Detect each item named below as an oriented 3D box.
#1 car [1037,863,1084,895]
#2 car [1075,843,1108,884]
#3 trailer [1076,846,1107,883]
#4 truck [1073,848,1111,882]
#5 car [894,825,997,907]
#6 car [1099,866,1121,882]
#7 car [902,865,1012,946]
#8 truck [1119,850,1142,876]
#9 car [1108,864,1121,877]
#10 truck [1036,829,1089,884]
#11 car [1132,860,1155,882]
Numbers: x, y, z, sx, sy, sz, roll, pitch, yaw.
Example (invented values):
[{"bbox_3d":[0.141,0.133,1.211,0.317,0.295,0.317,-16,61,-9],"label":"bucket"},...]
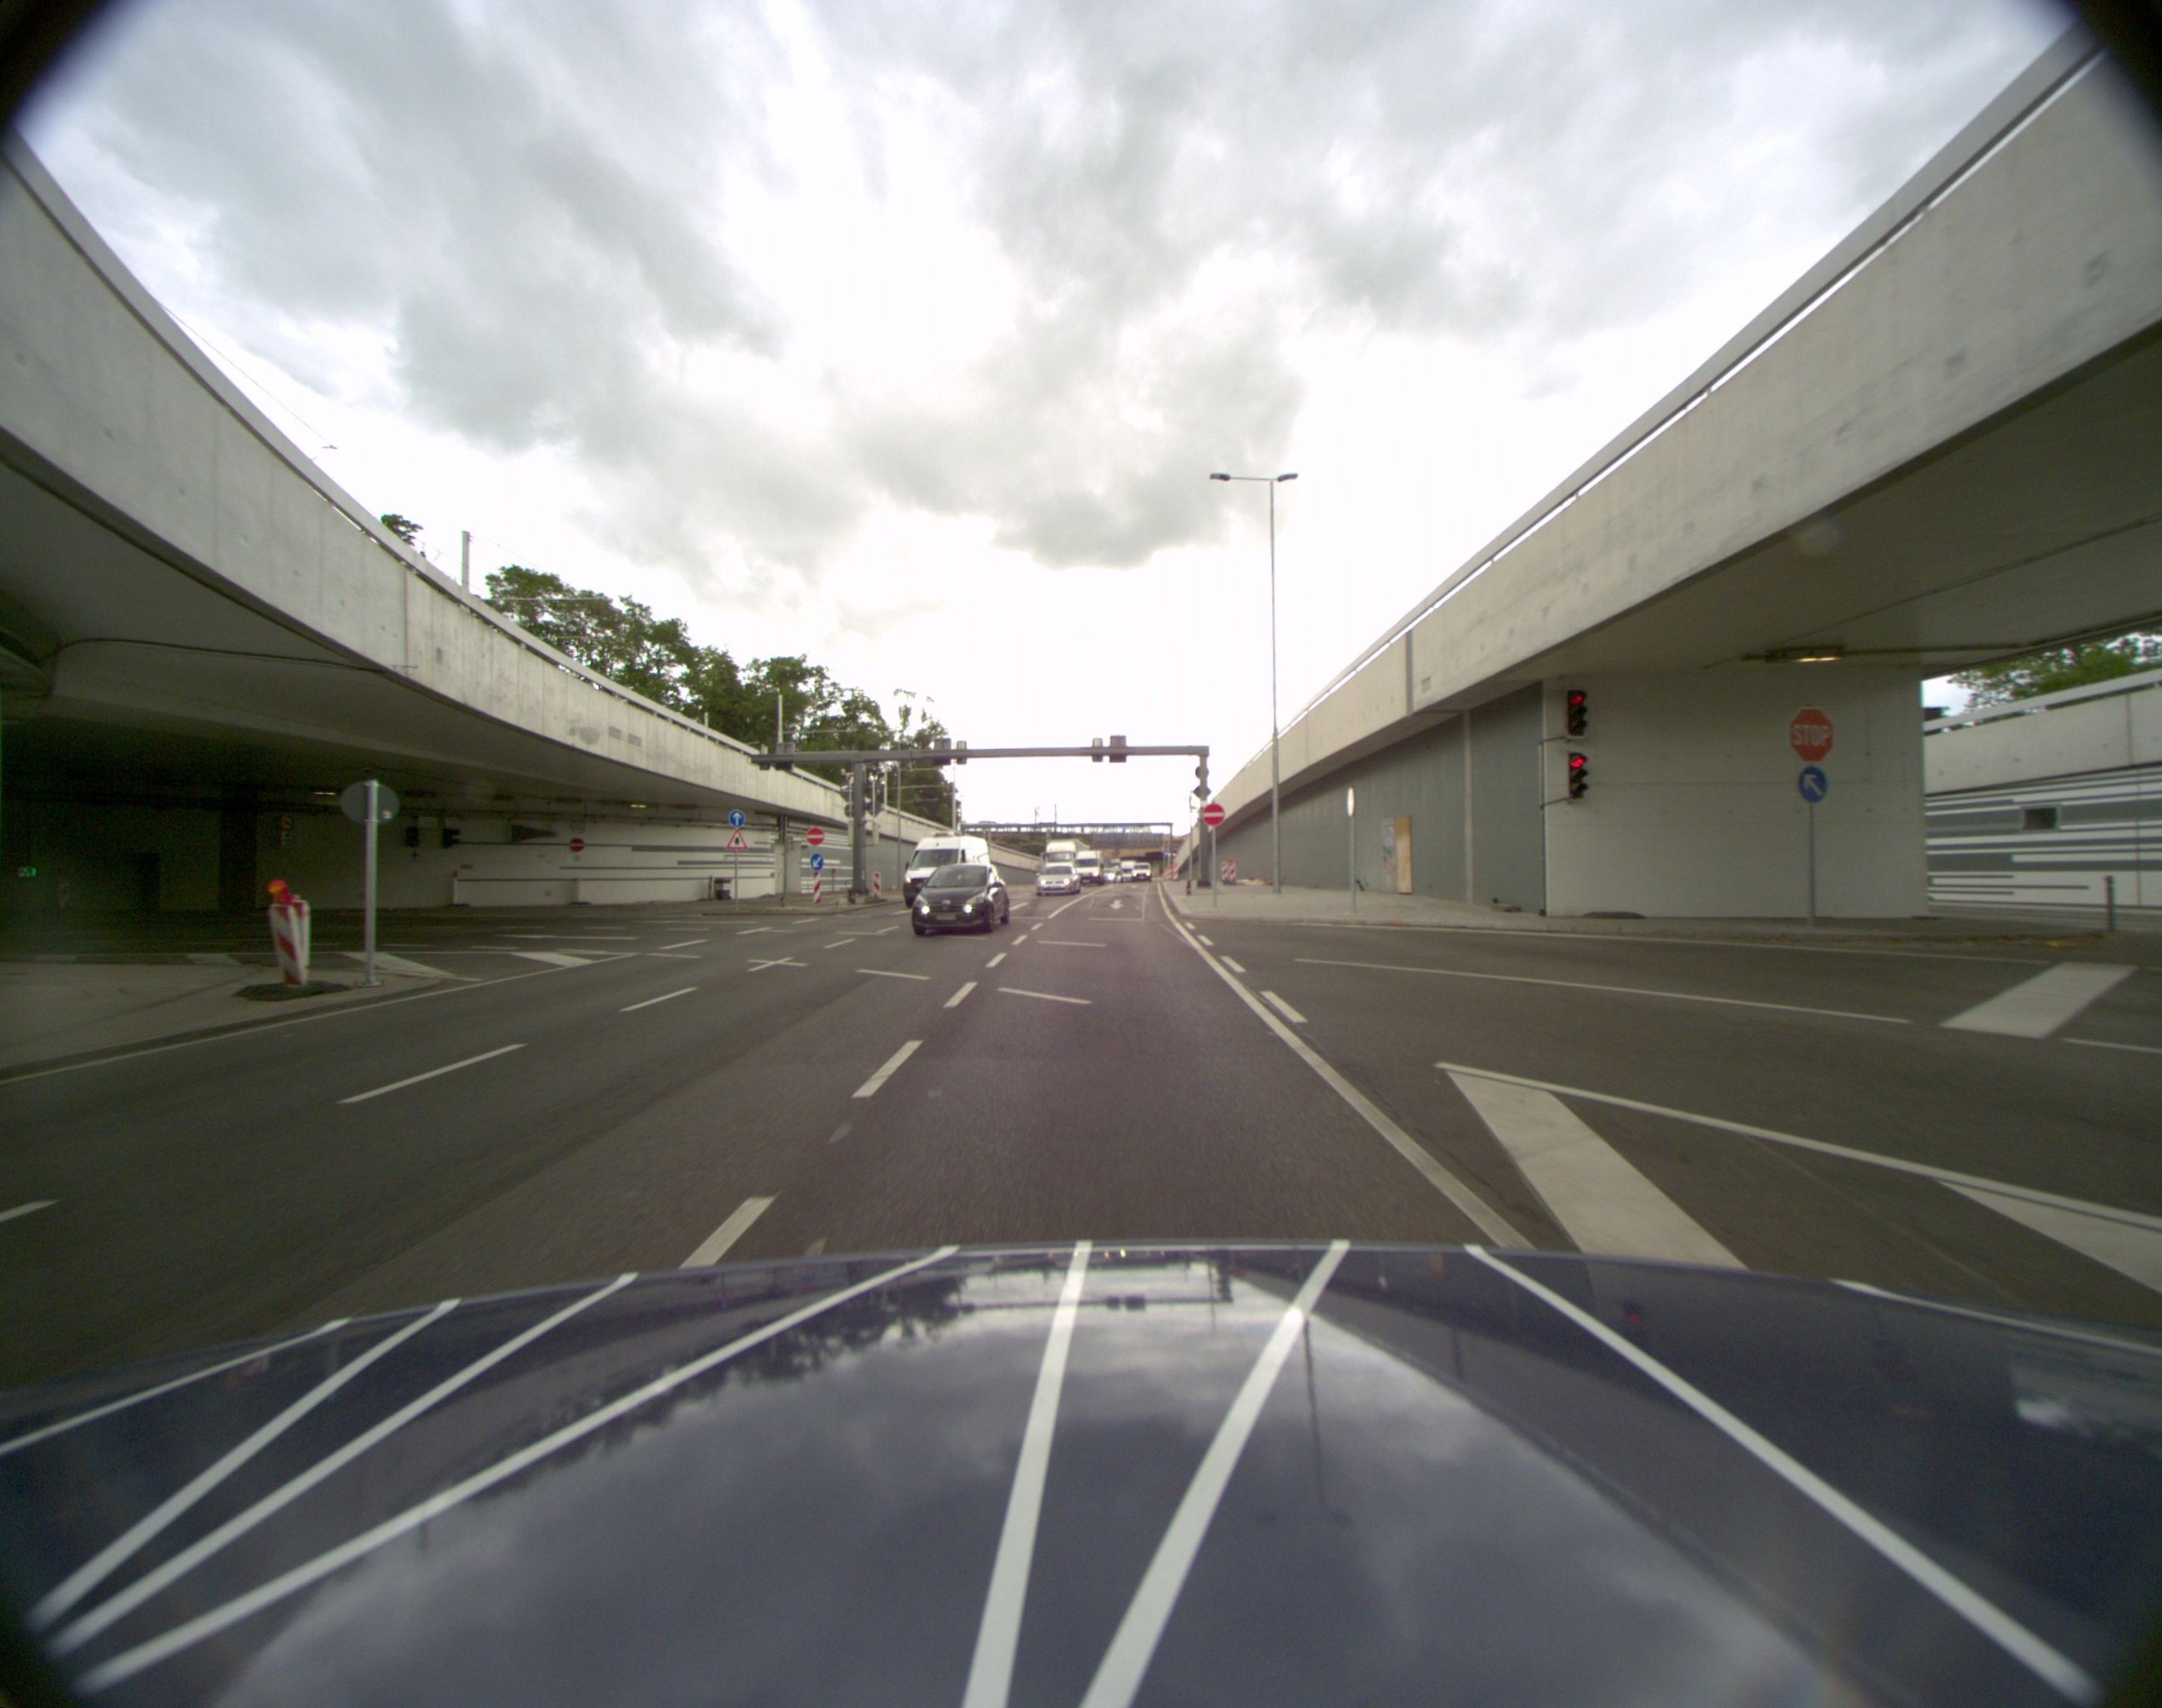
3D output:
[{"bbox_3d":[-0.901,1.154,35.638,1.767,1.375,4.041,-1,-1,5],"label":"car"},{"bbox_3d":[0.721,0.767,55.377,2.063,2.611,5.945,-5,-3,-1],"label":"car"},{"bbox_3d":[0.769,0.917,59.666,2.109,2.622,4.811,-5,-2,-1],"label":"trailer"},{"bbox_3d":[1.608,1.598,101.472,3.732,4.116,10.992,-3,-2,7],"label":"truck"},{"bbox_3d":[-5.094,0.528,29.970,2.079,2.756,7.331,-2,-2,5],"label":"car"},{"bbox_3d":[2.755,1.857,71.542,1.720,1.390,4.349,0,0,6],"label":"car"},{"bbox_3d":[-2.631,1.049,16.974,1.686,1.535,3.693,-2,0,2],"label":"car"},{"bbox_3d":[7.423,1.427,114.346,3.032,3.565,8.955,-5,-1,4],"label":"truck"},{"bbox_3d":[5.755,2.903,130.973,1.998,2.001,4.415,-5,-1,4],"label":"car"},{"bbox_3d":[-1.564,0.352,69.541,3.813,4.602,7.447,-3,-2,5],"label":"truck"},{"bbox_3d":[6.118,1.671,74.258,1.998,1.977,5.203,-3,-2,5],"label":"car"}]
